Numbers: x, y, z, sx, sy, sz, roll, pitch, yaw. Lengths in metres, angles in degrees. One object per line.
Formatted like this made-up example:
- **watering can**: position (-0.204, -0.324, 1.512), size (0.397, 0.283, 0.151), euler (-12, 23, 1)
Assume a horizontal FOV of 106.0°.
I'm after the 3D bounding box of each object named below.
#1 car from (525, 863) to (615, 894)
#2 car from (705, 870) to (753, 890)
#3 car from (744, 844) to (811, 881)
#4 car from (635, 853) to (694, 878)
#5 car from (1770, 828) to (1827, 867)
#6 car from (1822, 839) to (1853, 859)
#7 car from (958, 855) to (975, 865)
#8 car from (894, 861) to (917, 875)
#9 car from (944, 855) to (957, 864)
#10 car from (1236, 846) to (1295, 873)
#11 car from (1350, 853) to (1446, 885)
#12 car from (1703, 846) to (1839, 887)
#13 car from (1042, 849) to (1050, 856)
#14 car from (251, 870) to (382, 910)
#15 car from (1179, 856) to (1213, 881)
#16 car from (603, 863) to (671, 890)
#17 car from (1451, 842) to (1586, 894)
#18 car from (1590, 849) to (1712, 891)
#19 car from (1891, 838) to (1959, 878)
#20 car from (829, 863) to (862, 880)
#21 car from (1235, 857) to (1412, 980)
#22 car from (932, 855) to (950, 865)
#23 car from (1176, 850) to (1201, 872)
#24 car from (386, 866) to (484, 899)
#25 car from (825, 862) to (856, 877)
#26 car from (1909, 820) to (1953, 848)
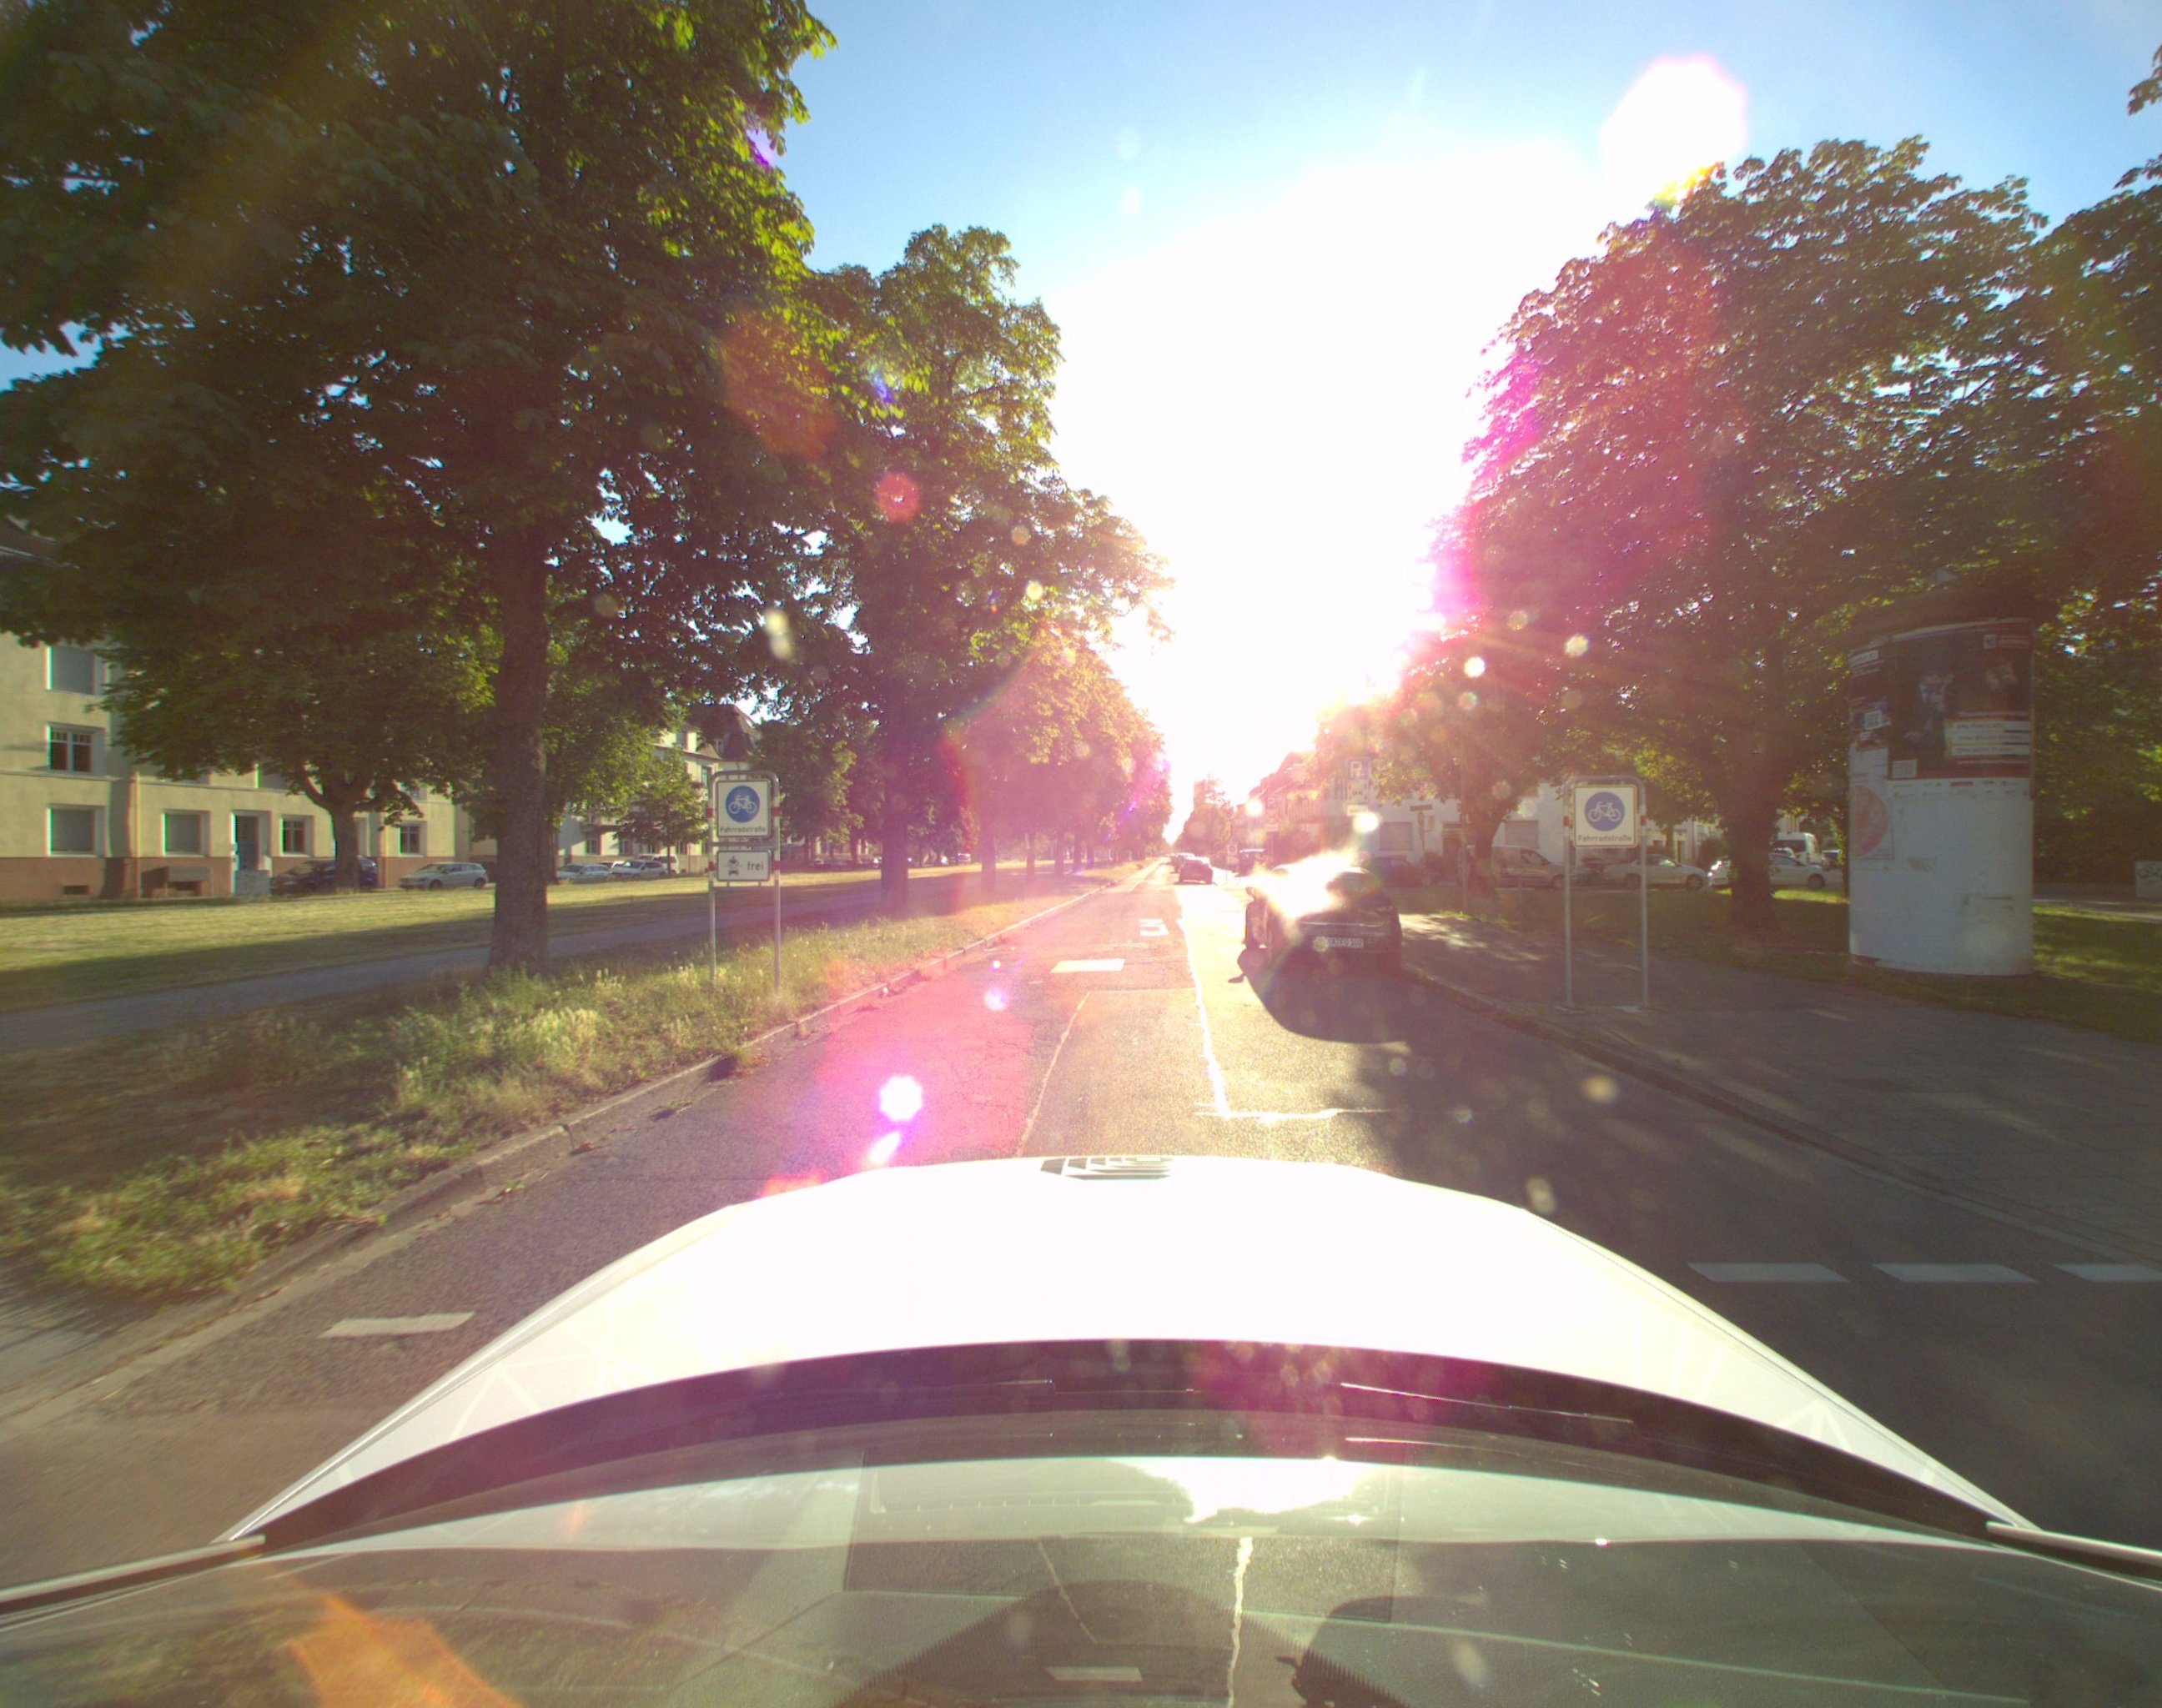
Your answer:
- **car**: position (-30.227, 1.411, 48.347), size (1.982, 1.659, 4.580), euler (1, 0, 8)
- **car**: position (-32.572, 2.374, 75.458), size (1.982, 1.659, 4.580), euler (1, 0, 8)
- **car**: position (-27.358, 0.696, 73.816), size (2.380, 3.130, 7.867), euler (2, 1, 6)
- **car**: position (-34.173, 0.902, 66.960), size (1.984, 1.950, 4.884), euler (-1, 0, 5)
- **car**: position (45.884, -0.385, 52.048), size (4.542, 2.337, 2.088), euler (1, 0, -40)
- **car**: position (62.487, -0.418, 67.247), size (1.738, 1.623, 3.865), euler (1, 0, 45)
- **car**: position (-19.670, 1.078, 139.929), size (2.012, 1.659, 3.991), euler (1, 0, 7)
- **car**: position (-23.498, 1.887, 109.166), size (1.802, 1.781, 4.130), euler (1, 0, 7)
- **car**: position (-24.608, 1.061, 153.702), size (1.632, 1.643, 3.859), euler (1, 0, 4)
- **car**: position (13.742, 0.426, 60.704), size (3.972, 1.822, 1.760), euler (-2, -5, 1)
- **car**: position (15.069, 0.689, 38.904), size (3.967, 1.446, 1.719), euler (-1, 0, 5)
- **car**: position (26.478, 0.471, 31.328), size (3.907, 1.524, 1.524), euler (0, -1, 1)
- **car**: position (-9.562, -0.385, 225.252), size (1.646, 1.938, 3.572), euler (1, -1, 5)
- **car**: position (-37.030, 1.705, 39.637), size (1.982, 1.736, 4.321), euler (1, 0, 8)
- **car**: position (6.450, 0.786, 45.991), size (1.701, 1.359, 4.210), euler (1, 0, 6)
- **car**: position (-29.450, 1.435, 54.155), size (1.787, 1.554, 4.425), euler (1, 1, 4)
- **car**: position (17.128, 0.537, 32.087), size (4.220, 1.875, 2.034), euler (-1, 0, 5)
- **car**: position (21.751, 0.594, 31.180), size (3.541, 1.516, 1.605), euler (-1, 0, 0)
- **car**: position (37.067, 0.140, 35.796), size (4.023, 1.552, 1.976), euler (-2, 1, -44)
- **car**: position (-25.741, 1.897, 89.200), size (1.869, 1.674, 4.323), euler (1, 0, 7)
- **car**: position (3.509, 0.822, 12.628), size (1.717, 1.511, 4.546), euler (1, 0, 5)
- **car**: position (-25.055, 1.035, 145.787), size (1.982, 1.659, 4.364), euler (1, 0, 8)
- **car**: position (9.412, 0.556, 71.698), size (1.984, 1.781, 4.006), euler (1, 1, 5)
- **car**: position (-36.187, 1.544, 45.745), size (1.983, 1.659, 4.009), euler (1, 0, 8)
- **car**: position (-29.416, 1.858, 99.829), size (1.982, 1.659, 4.383), euler (1, 0, 8)
- **car**: position (60.402, -1.385, 57.921), size (1.906, 1.855, 4.024), euler (1, 0, 43)
